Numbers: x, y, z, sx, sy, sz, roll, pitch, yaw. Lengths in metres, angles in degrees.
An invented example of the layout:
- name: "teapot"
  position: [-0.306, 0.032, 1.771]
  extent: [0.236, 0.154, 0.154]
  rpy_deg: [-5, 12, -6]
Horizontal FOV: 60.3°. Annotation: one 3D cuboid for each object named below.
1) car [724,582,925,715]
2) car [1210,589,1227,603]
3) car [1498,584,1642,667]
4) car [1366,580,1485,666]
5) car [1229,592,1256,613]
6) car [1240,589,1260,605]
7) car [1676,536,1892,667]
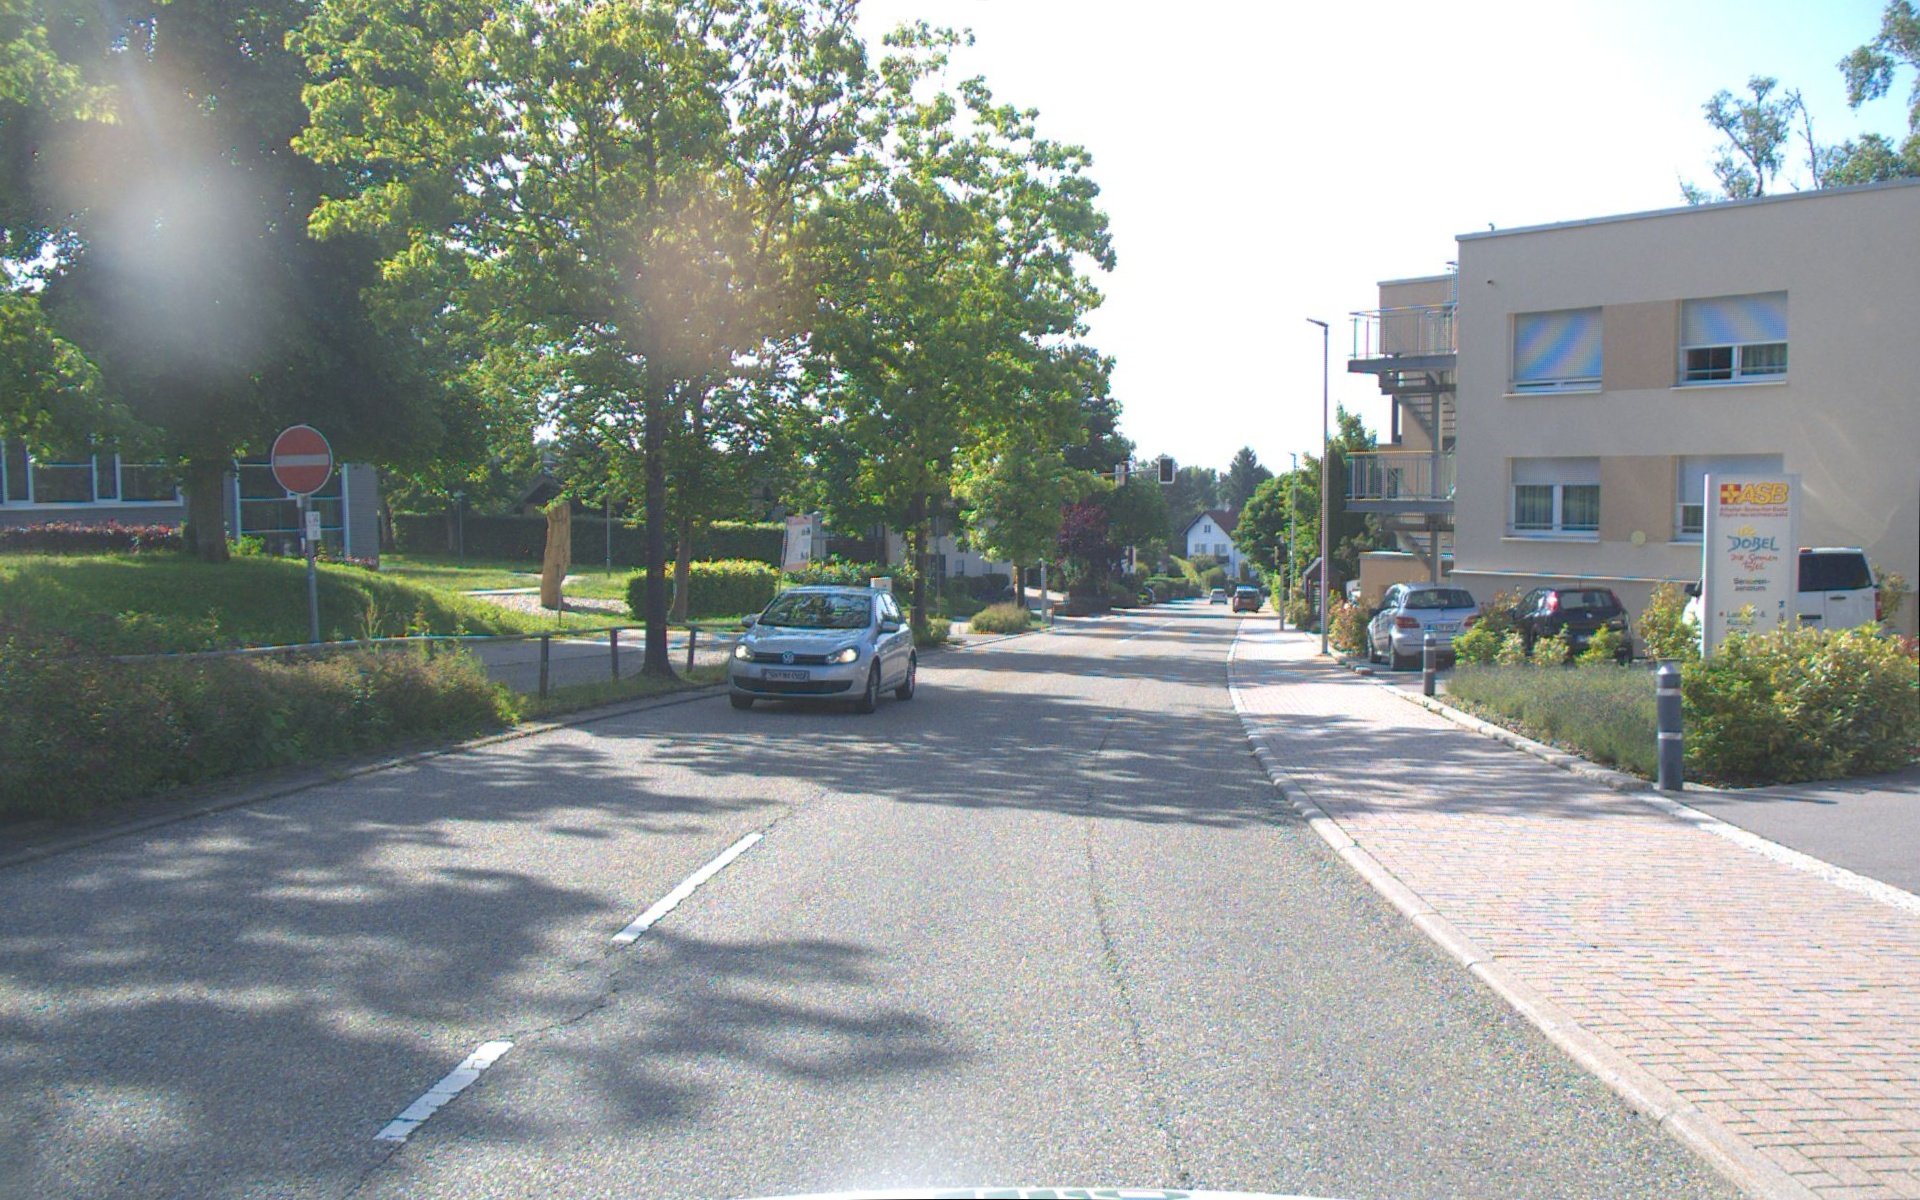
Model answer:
- name: "car"
  position: [-1.581, 0.528, 20.765]
  extent: [1.692, 1.468, 4.068]
  rpy_deg: [1, 1, 7]
- name: "car"
  position: [27.148, -0.399, 173.561]
  extent: [1.671, 1.452, 4.011]
  rpy_deg: [0, 0, 11]
- name: "car"
  position: [11.281, 0.434, 30.834]
  extent: [1.672, 1.452, 4.010]
  rpy_deg: [0, 0, 7]
- name: "car"
  position: [9.038, 0.409, 32.389]
  extent: [1.672, 1.562, 4.010]
  rpy_deg: [0, 0, 7]
- name: "car"
  position: [19.916, 0.149, 116.608]
  extent: [1.672, 1.452, 4.010]
  rpy_deg: [0, 0, 7]
- name: "car"
  position: [27.781, -0.308, 158.500]
  extent: [1.672, 1.452, 4.010]
  rpy_deg: [0, 0, 7]
- name: "car"
  position: [13.488, 0.010, 27.402]
  extent: [1.765, 1.969, 4.738]
  rpy_deg: [0, 0, 8]
